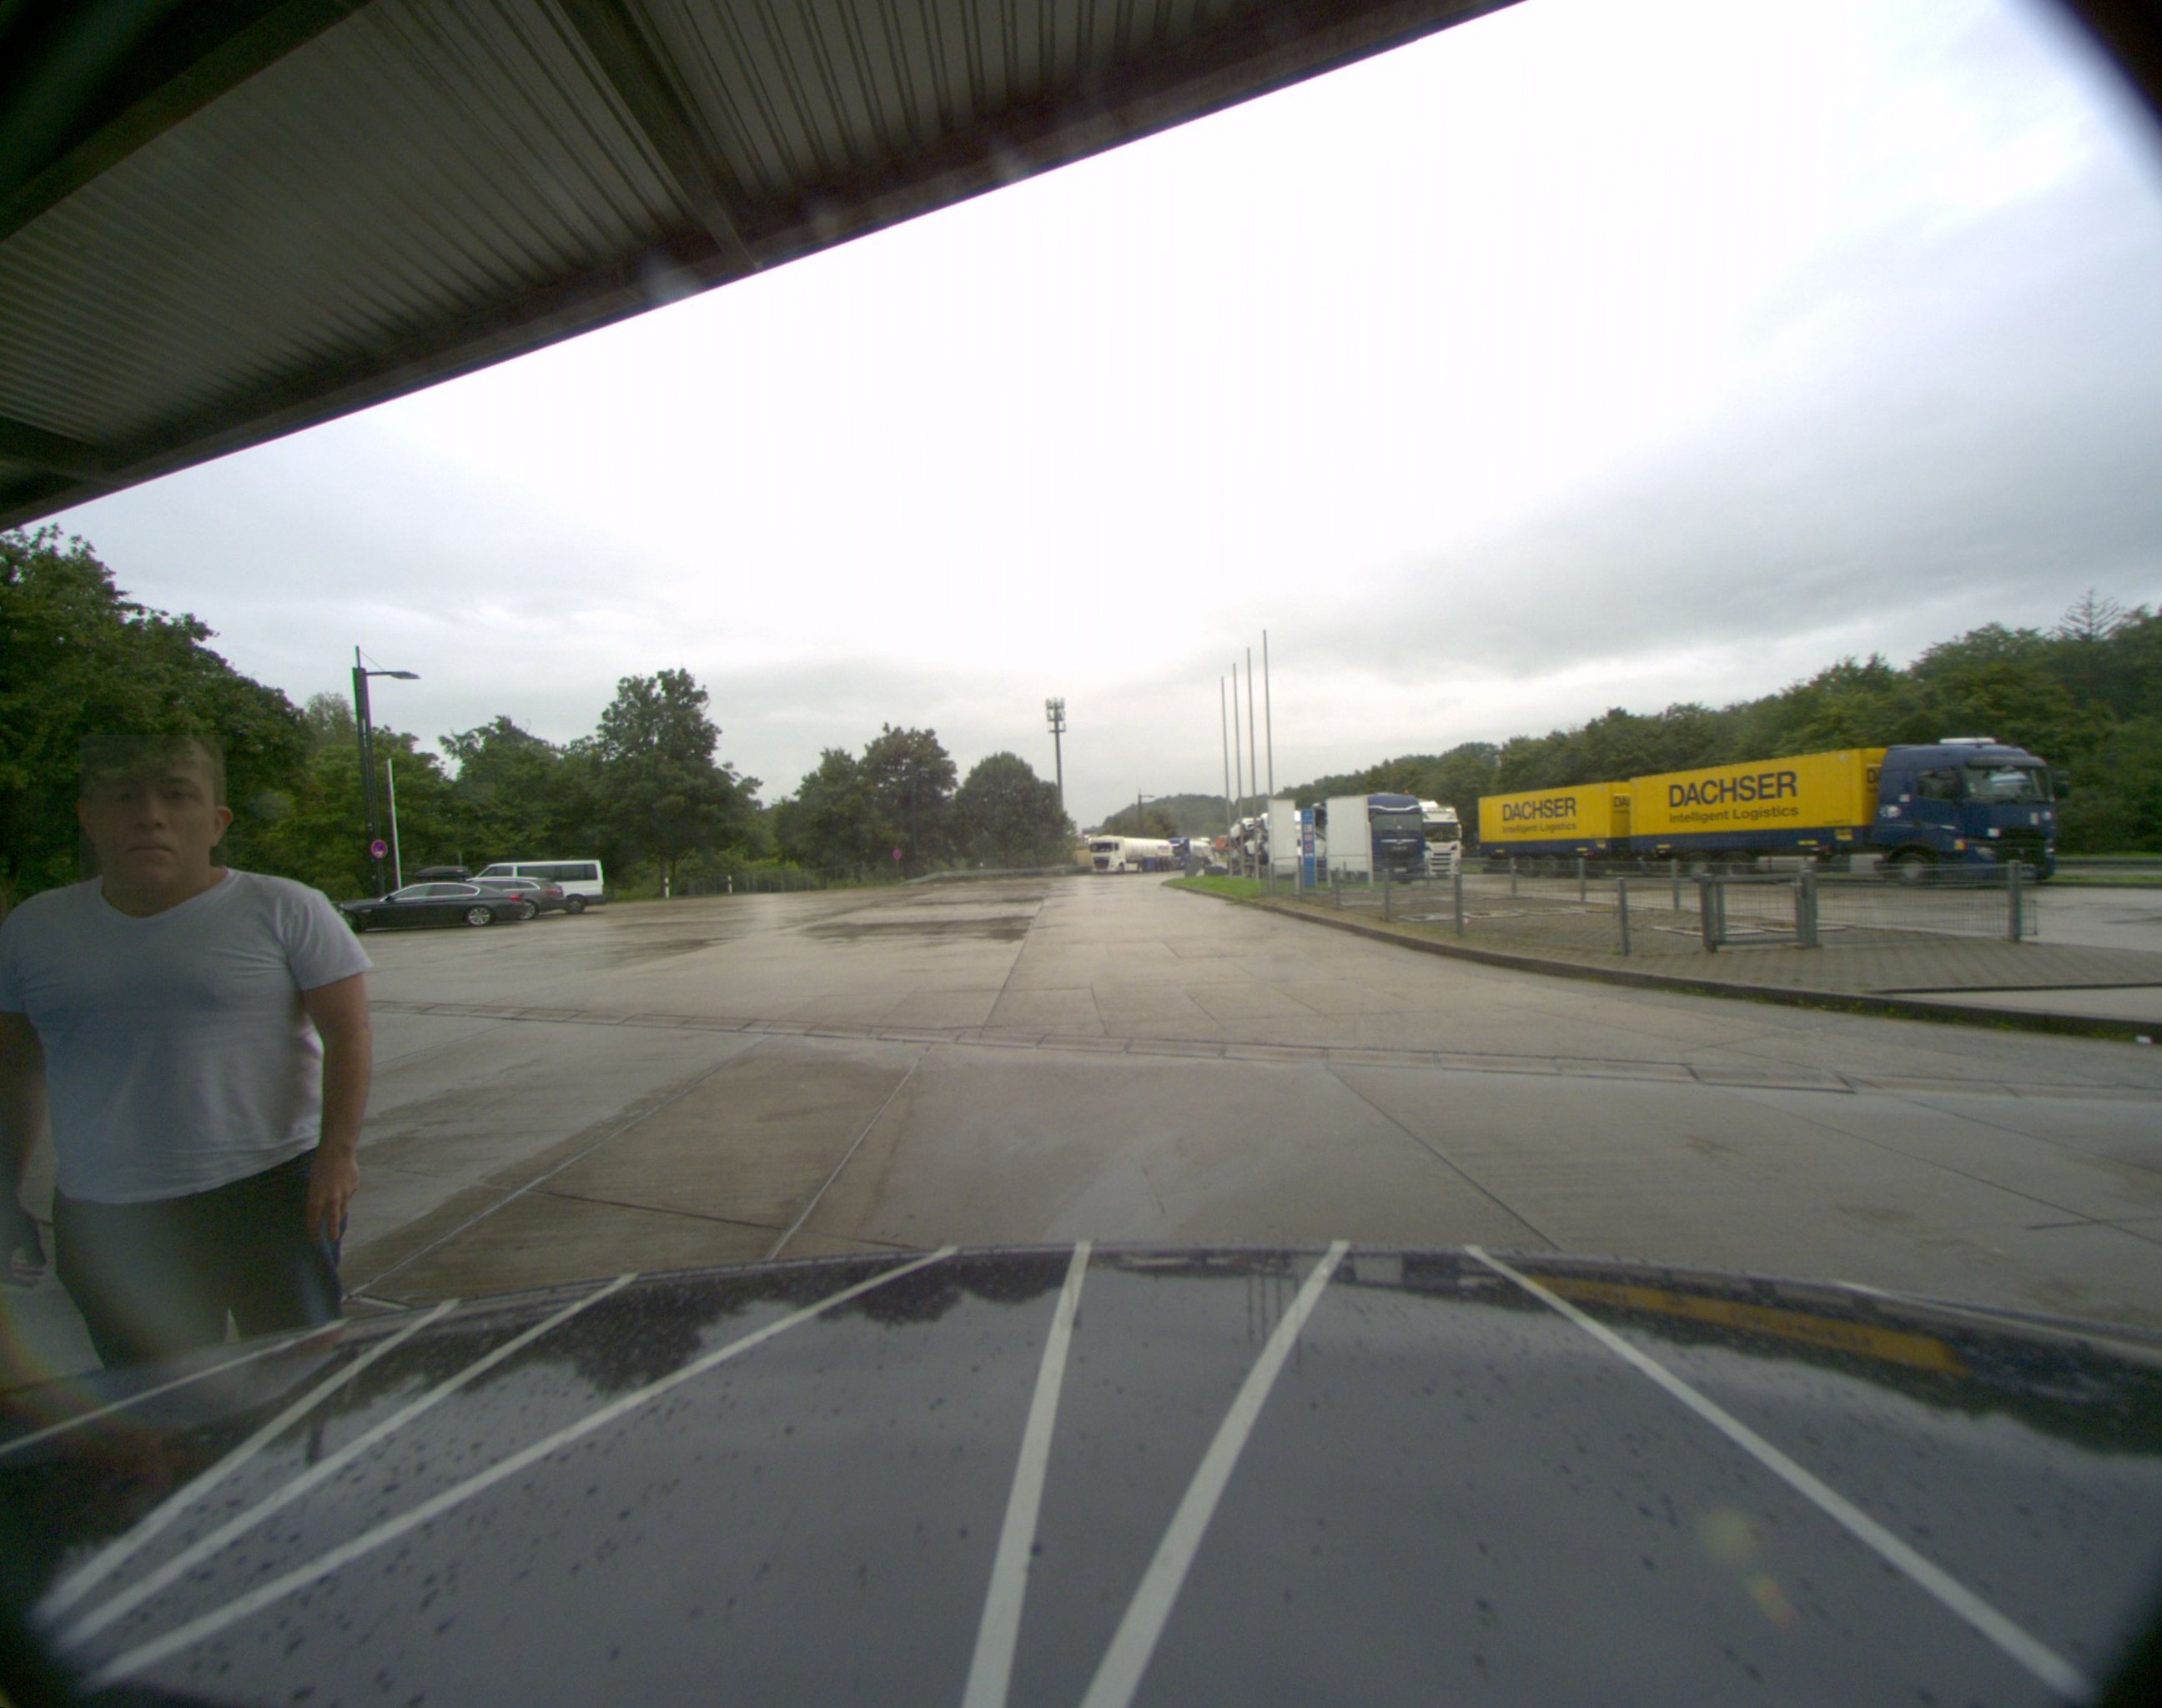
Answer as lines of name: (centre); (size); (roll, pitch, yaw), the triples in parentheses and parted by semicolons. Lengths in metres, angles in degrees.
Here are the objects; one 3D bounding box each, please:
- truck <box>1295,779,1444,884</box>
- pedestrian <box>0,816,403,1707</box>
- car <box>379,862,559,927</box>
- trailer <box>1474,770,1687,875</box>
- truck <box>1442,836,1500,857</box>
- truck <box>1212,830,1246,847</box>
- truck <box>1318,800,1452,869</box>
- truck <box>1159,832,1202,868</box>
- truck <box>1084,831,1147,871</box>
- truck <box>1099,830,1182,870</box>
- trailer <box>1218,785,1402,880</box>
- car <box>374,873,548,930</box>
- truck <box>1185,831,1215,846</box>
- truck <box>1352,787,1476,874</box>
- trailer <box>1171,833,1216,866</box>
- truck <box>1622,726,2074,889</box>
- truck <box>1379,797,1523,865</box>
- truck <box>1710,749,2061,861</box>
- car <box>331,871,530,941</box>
truck: (12.299, -0.919, 33.255); (2.990, 4.009, 7.259); (-2, 1, -7)
pedestrian: (-1.871, 0.842, 1.500); (0.635, 1.800, 0.493); (-4, 3, -34)
car: (-21.525, 1.346, 27.034); (4.780, 1.974, 2.010); (-2, 0, -36)
trailer: (21.780, -1.272, 33.999); (2.774, 4.009, 8.853); (-2, 1, -8)
truck: (45.927, -0.842, 89.668); (3.135, 2.290, 6.172); (-2, 0, -7)
truck: (33.816, -3.411, 174.506); (3.251, 3.543, 14.656); (-2, 0, -7)
truck: (19.755, -1.215, 50.439); (2.991, 4.009, 10.464); (-2, 1, -10)
truck: (11.326, -0.516, 85.742); (3.045, 3.745, 6.475); (-2, 1, 23)
truck: (3.314, -0.348, 71.446); (3.243, 3.544, 6.114); (-2, 1, 31)
truck: (6.197, -0.515, 76.357); (3.243, 3.544, 11.995); (-2, 1, 31)
trailer: (11.371, -0.995, 40.947); (2.990, 4.009, 16.597); (-2, 1, -7)
car: (-20.151, 1.474, 24.974); (4.187, 1.547, 1.995); (-2, 0, -33)
truck: (30.970, -4.000, 198.092); (3.251, 3.543, 16.548); (-2, 1, -7)
truck: (16.887, -1.141, 39.122); (2.990, 4.009, 6.739); (-2, 1, -4)
trailer: (13.666, -0.643, 91.449); (2.898, 3.618, 10.586); (-2, 1, 22)
truck: (23.057, -1.212, 24.316); (2.774, 4.009, 10.632); (-2, 1, -8)
truck: (24.358, -1.399, 50.963); (2.991, 4.009, 10.464); (-2, 1, -10)
truck: (33.769, -1.846, 32.939); (2.991, 4.009, 10.464); (-2, 1, -10)
car: (-19.105, 1.454, 22.617); (4.187, 1.720, 1.995); (-2, 0, -33)
